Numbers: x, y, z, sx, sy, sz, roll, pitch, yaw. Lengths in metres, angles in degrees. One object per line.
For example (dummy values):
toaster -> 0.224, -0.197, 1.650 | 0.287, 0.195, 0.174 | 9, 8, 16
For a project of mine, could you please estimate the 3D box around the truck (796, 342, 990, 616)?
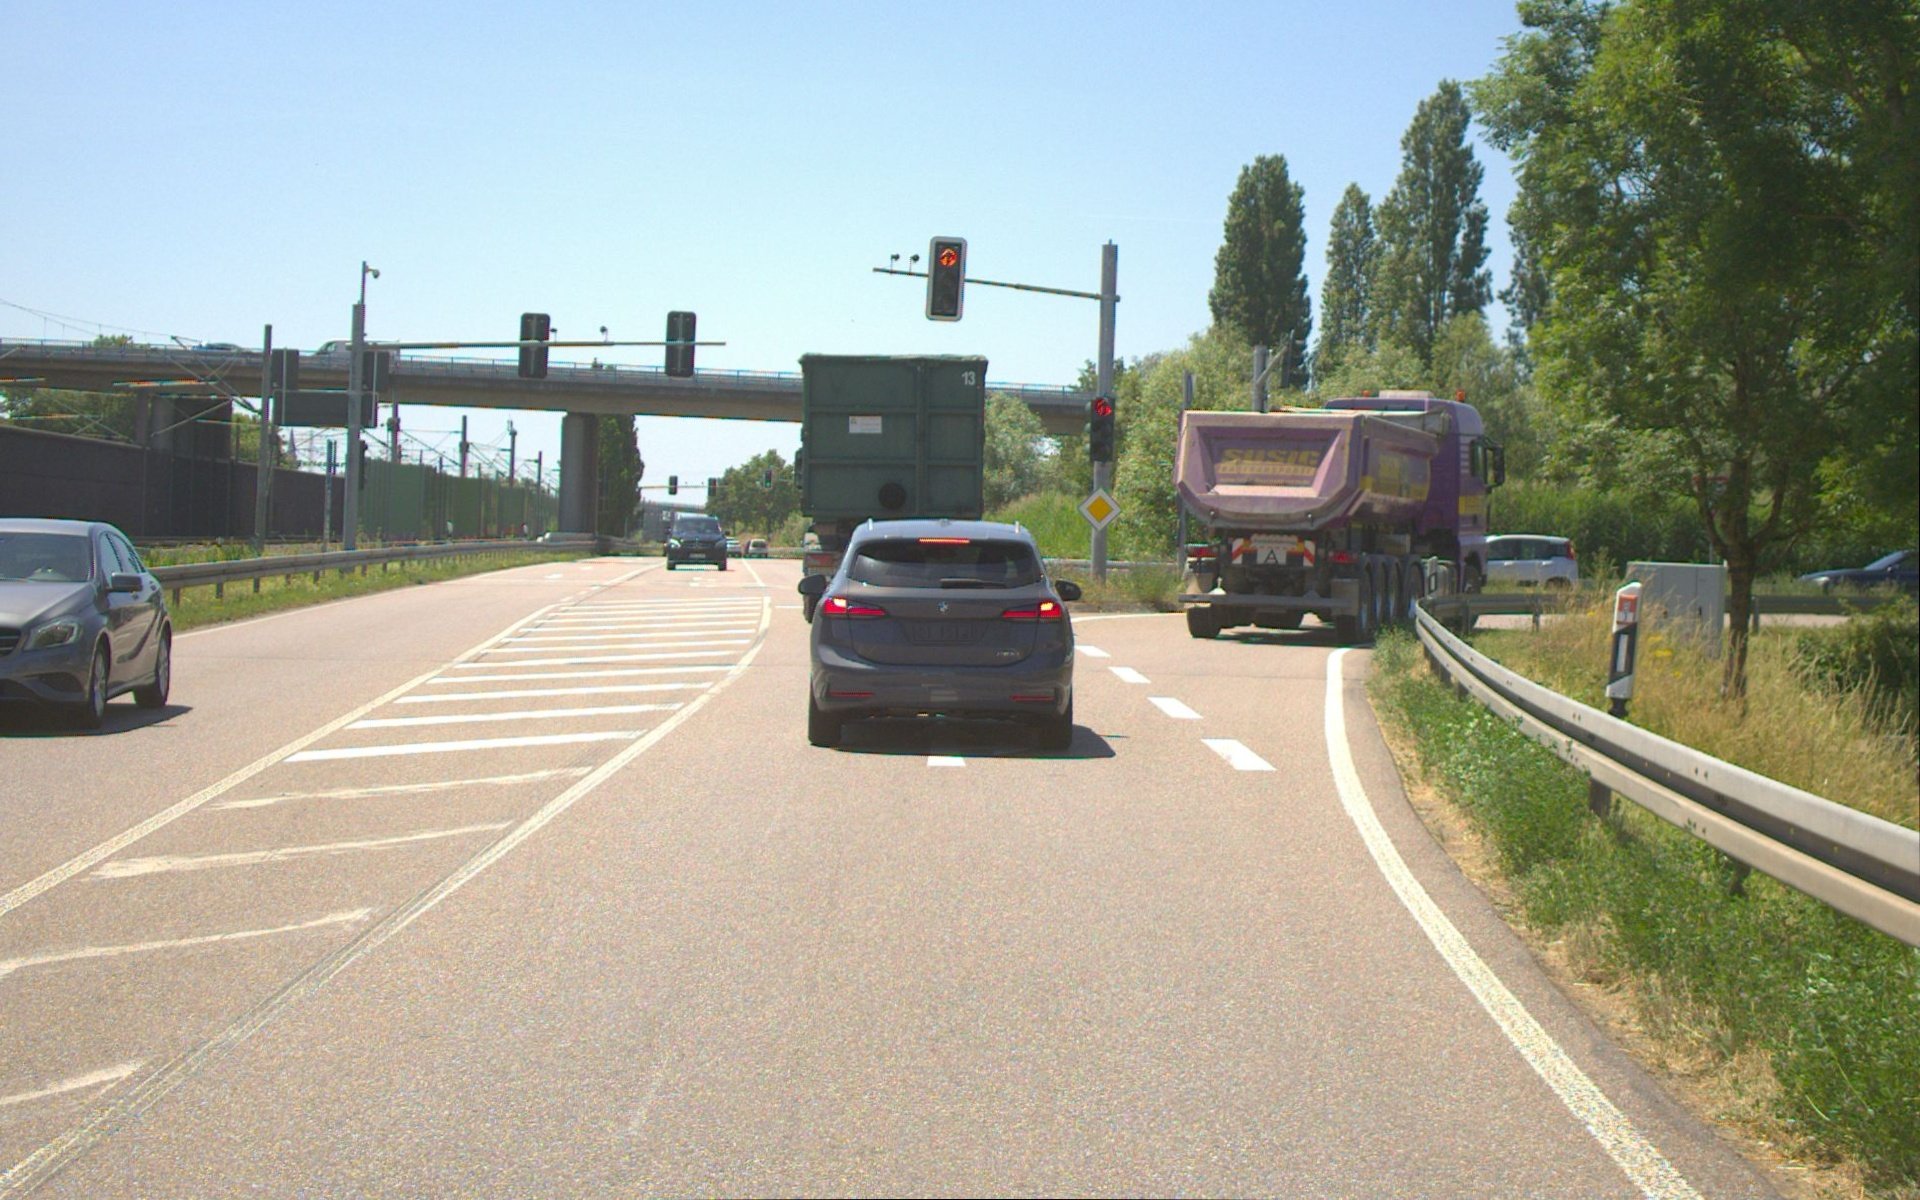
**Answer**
truck -> -1.094, -1.806, 52.170 | 2.589, 3.724, 9.576 | 1, 2, -2

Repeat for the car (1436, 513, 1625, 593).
car -> 12.290, -1.011, 74.145 | 3.706, 1.626, 1.735 | 1, 1, -3

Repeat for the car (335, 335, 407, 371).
car -> -35.061, -14.710, 204.837 | 3.986, 2.007, 2.000 | 1, 1, -3

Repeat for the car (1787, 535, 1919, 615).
car -> 20.368, -0.512, 73.403 | 4.924, 1.626, 1.934 | 1, 1, -1

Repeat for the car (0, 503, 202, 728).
car -> -6.907, 0.036, 25.249 | 1.864, 1.480, 4.889 | 1, 1, -4

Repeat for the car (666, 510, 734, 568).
car -> -8.425, -2.000, 111.792 | 1.927, 1.761, 4.598 | 2, 2, -2

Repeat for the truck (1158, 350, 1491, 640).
truck -> 5.712, -1.494, 51.470 | 2.835, 3.808, 11.876 | 2, 1, 16

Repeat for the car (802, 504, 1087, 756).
car -> -0.092, 0.153, 24.735 | 1.845, 1.617, 4.226 | 1, 1, 0
